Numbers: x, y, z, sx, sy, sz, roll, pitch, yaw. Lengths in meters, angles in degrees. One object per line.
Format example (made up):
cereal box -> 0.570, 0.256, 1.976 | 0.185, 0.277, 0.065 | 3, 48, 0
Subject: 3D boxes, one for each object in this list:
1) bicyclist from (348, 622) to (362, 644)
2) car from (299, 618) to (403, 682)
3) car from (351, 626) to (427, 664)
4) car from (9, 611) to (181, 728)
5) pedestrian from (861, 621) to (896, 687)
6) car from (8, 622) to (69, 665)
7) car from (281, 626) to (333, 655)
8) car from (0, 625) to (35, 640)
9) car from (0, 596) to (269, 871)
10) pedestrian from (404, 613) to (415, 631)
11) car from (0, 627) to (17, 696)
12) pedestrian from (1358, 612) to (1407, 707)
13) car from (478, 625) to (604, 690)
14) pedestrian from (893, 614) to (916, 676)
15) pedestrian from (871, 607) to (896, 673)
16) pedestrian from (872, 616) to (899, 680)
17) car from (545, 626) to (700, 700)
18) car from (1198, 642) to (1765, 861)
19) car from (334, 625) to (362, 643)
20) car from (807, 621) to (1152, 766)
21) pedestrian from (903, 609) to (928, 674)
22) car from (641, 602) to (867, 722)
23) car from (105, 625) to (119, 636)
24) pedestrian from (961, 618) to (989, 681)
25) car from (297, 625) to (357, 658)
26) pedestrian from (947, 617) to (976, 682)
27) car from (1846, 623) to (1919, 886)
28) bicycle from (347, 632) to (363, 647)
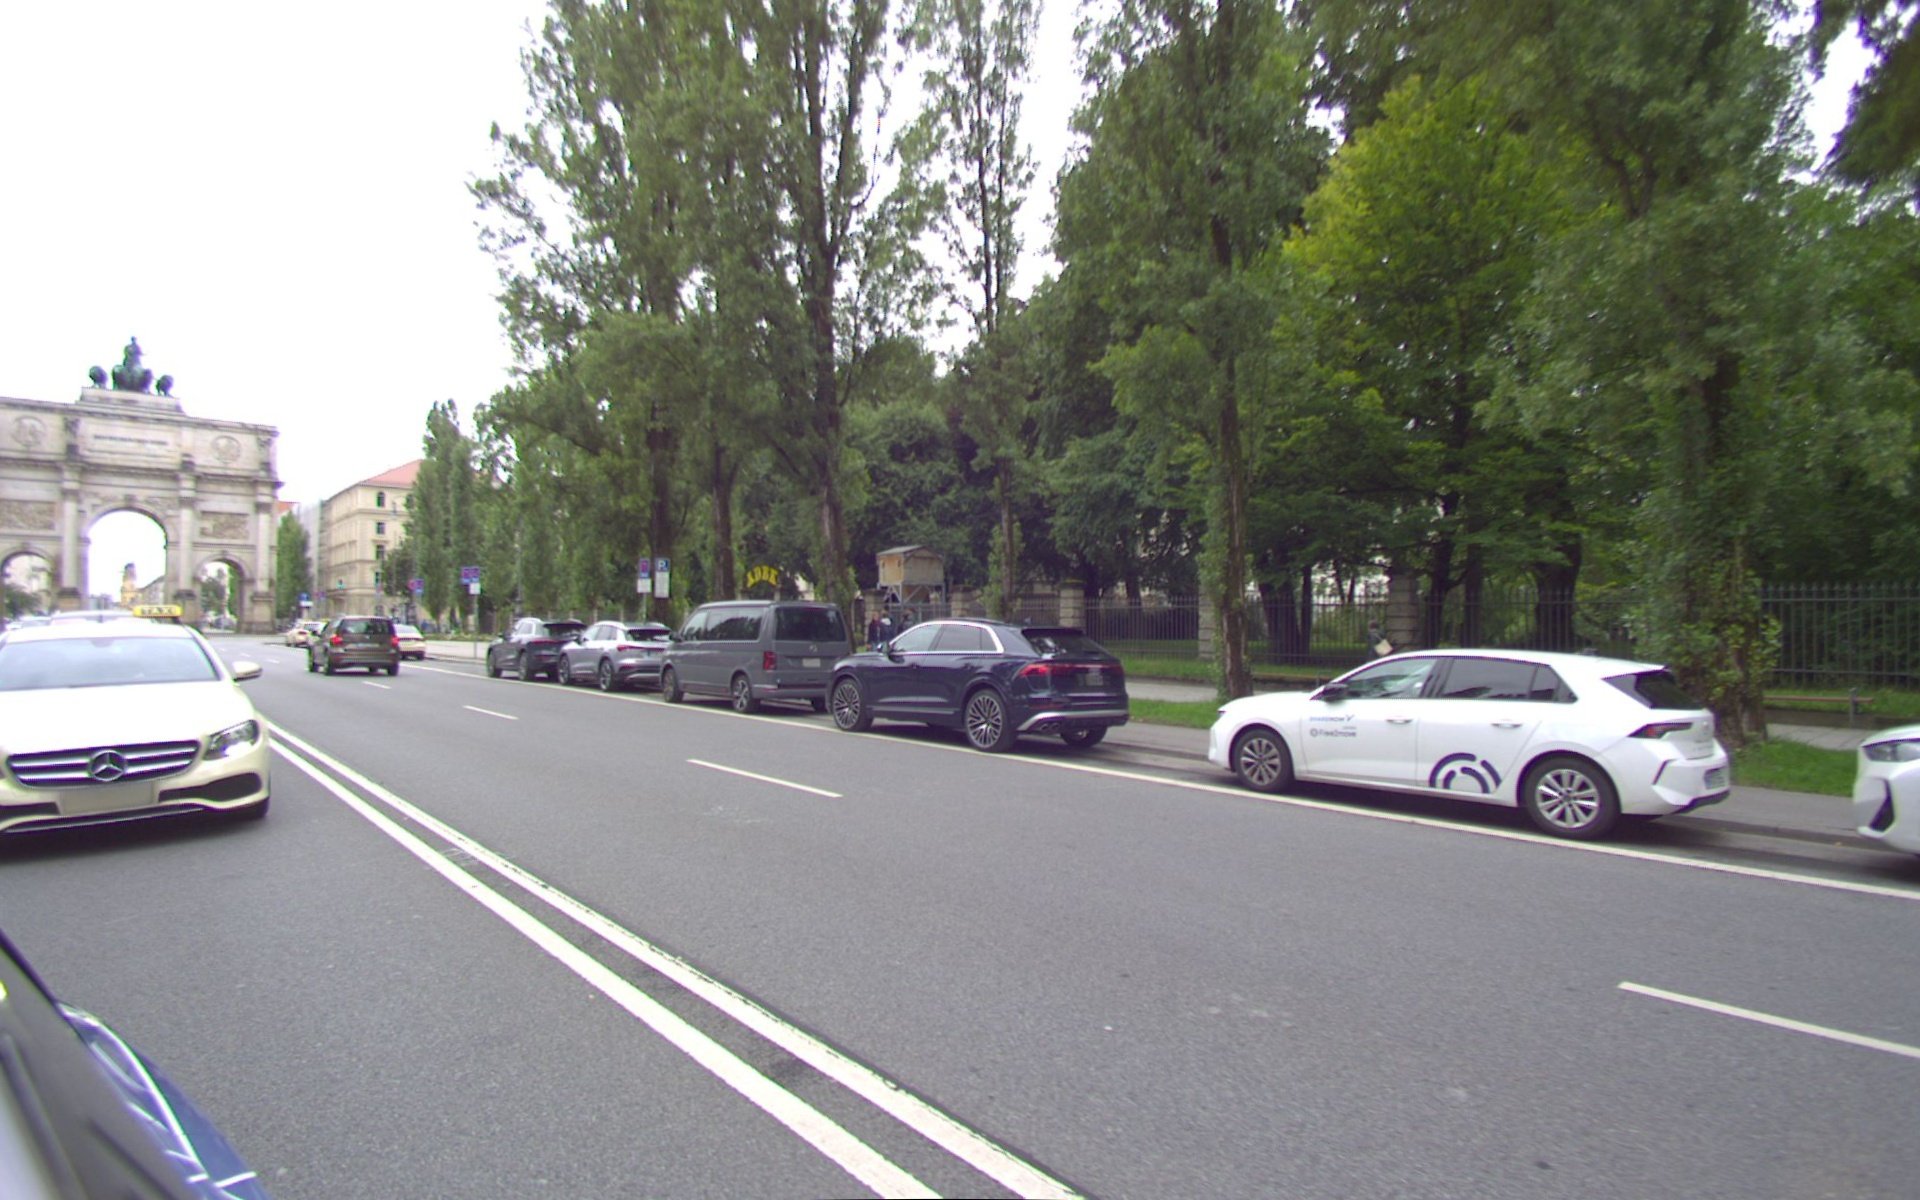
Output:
bicyclist -> -41.915, 2.304, 70.087 | 0.685, 1.510, 0.863 | 2, -3, -39
car -> -17.259, 1.392, 28.614 | 1.763, 1.669, 4.119 | 3, -3, -41
car -> -23.763, 1.860, 42.037 | 1.906, 1.509, 4.798 | 2, -3, -40
car -> -14.276, 1.034, 16.764 | 1.924, 1.636, 4.418 | -1, 0, -41
pedestrian -> -2.178, 1.418, 26.944 | 0.575, 1.733, 0.788 | 1, -2, -42
car -> -42.433, 1.949, 46.657 | 1.861, 1.871, 4.320 | 1, -2, -40
car -> -37.685, 2.307, 58.312 | 1.796, 1.571, 4.866 | 4, -3, -41
car -> -109.869, 3.803, 118.014 | 1.757, 1.763, 4.334 | 1, -2, -25
car -> -6.800, 0.810, 7.926 | 1.890, 1.587, 4.697 | -1, 0, -39
pedestrian -> -61.539, 2.497, 113.115 | 0.749, 2.029, 0.791 | -1, -2, 14
car -> -21.348, 1.293, 21.448 | 1.894, 1.338, 4.417 | -1, 0, -42
pedestrian -> 8.027, 1.113, 19.246 | 0.543, 1.761, 0.673 | 1, -2, -41
car -> -11.493, 1.538, 27.574 | 1.760, 1.608, 4.620 | 4, -4, -41
pedestrian -> -1.676, 1.347, 30.506 | 0.428, 1.849, 0.613 | 1, -2, -41
pedestrian -> -2.285, 1.188, 30.322 | 0.543, 1.974, 0.533 | 1, -2, -41
pedestrian -> -2.075, 1.322, 28.163 | 0.543, 1.761, 0.533 | 1, -2, -41
car -> -8.172, 1.451, 24.238 | 1.867, 1.596, 4.661 | 3, -3, -41
car -> 4.414, 1.147, 9.139 | 1.655, 1.433, 4.243 | 4, -3, -41
car -> -66.822, 3.672, 110.472 | 1.973, 1.869, 5.000 | 3, -2, -39
car -> 0.049, 1.143, 13.904 | 1.792, 1.621, 5.060 | 4, -4, -41
pedestrian -> -1.382, 1.261, 31.254 | 0.543, 1.974, 0.533 | 1, -2, -41
car -> -4.020, 1.122, 19.111 | 1.969, 1.971, 4.944 | 4, -4, -41
car -> -162.570, 5.820, 194.050 | 1.969, 2.029, 4.401 | 1, -2, -41
pedestrian -> 0.419, 1.345, 27.592 | 0.543, 1.682, 0.533 | 1, -2, -41
car -> -33.315, 2.159, 53.200 | 1.913, 1.637, 4.972 | 2, -2, -41
pedestrian -> 0.041, 1.323, 27.153 | 0.543, 1.714, 0.533 | 1, -2, -41
car -> 7.751, 0.939, 5.281 | 1.763, 1.600, 4.468 | 4, -4, -40
bicycle -> -41.889, 2.725, 70.042 | 0.698, 0.946, 1.738 | 1, -2, -40
